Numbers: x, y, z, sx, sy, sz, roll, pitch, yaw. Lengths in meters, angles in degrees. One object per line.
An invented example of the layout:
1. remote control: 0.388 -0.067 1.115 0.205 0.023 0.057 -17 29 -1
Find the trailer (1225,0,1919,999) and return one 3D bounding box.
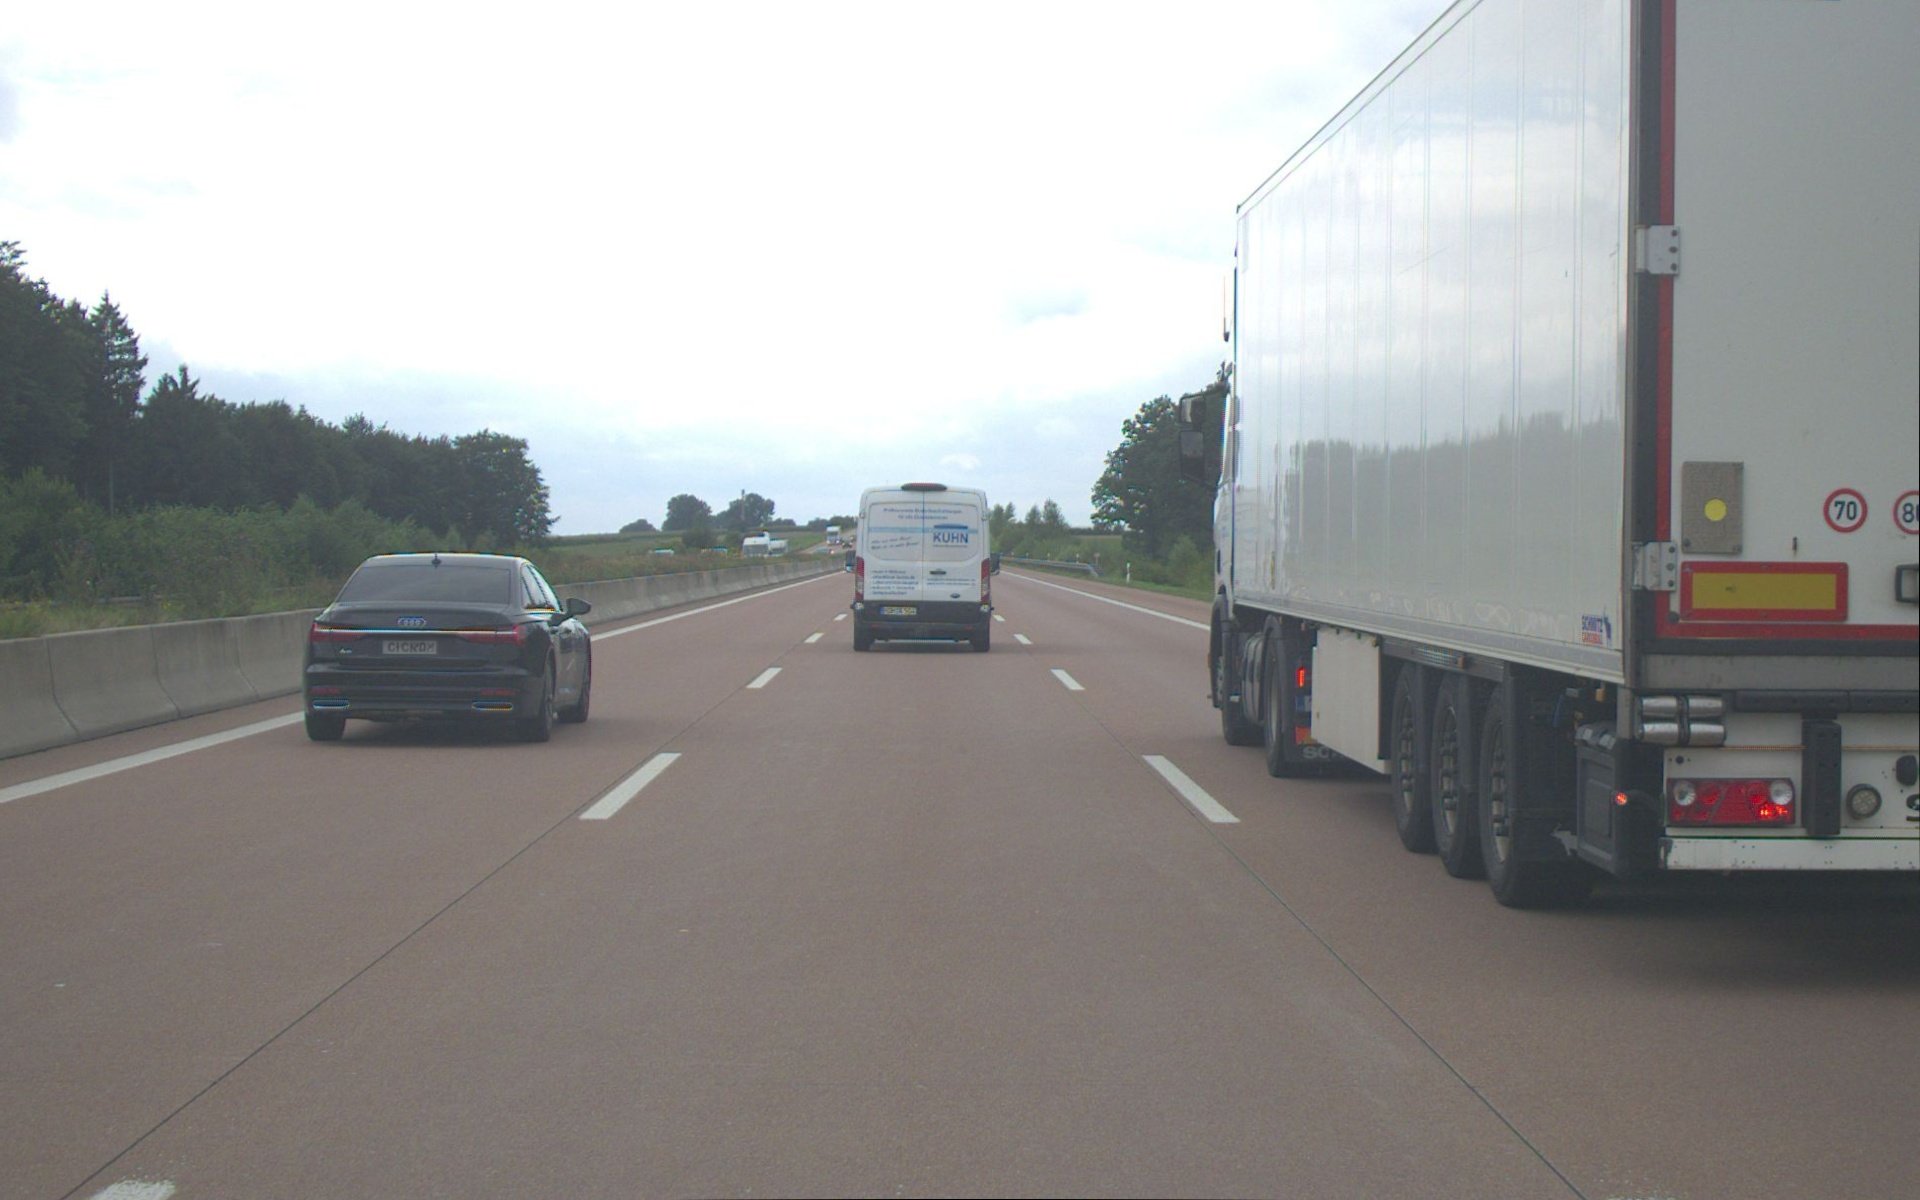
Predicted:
1. trailer: 3.502 -0.939 18.081 2.921 4.279 13.615 0 1 -1

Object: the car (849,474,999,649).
1. car: -0.529 -0.644 52.845 2.137 2.498 7.132 0 1 0

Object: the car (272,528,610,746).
1. car: -4.091 0.214 28.012 2.085 1.545 5.675 1 1 -2

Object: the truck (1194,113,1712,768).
1. truck: 3.415 -1.088 25.207 2.921 4.279 5.335 0 1 -1
